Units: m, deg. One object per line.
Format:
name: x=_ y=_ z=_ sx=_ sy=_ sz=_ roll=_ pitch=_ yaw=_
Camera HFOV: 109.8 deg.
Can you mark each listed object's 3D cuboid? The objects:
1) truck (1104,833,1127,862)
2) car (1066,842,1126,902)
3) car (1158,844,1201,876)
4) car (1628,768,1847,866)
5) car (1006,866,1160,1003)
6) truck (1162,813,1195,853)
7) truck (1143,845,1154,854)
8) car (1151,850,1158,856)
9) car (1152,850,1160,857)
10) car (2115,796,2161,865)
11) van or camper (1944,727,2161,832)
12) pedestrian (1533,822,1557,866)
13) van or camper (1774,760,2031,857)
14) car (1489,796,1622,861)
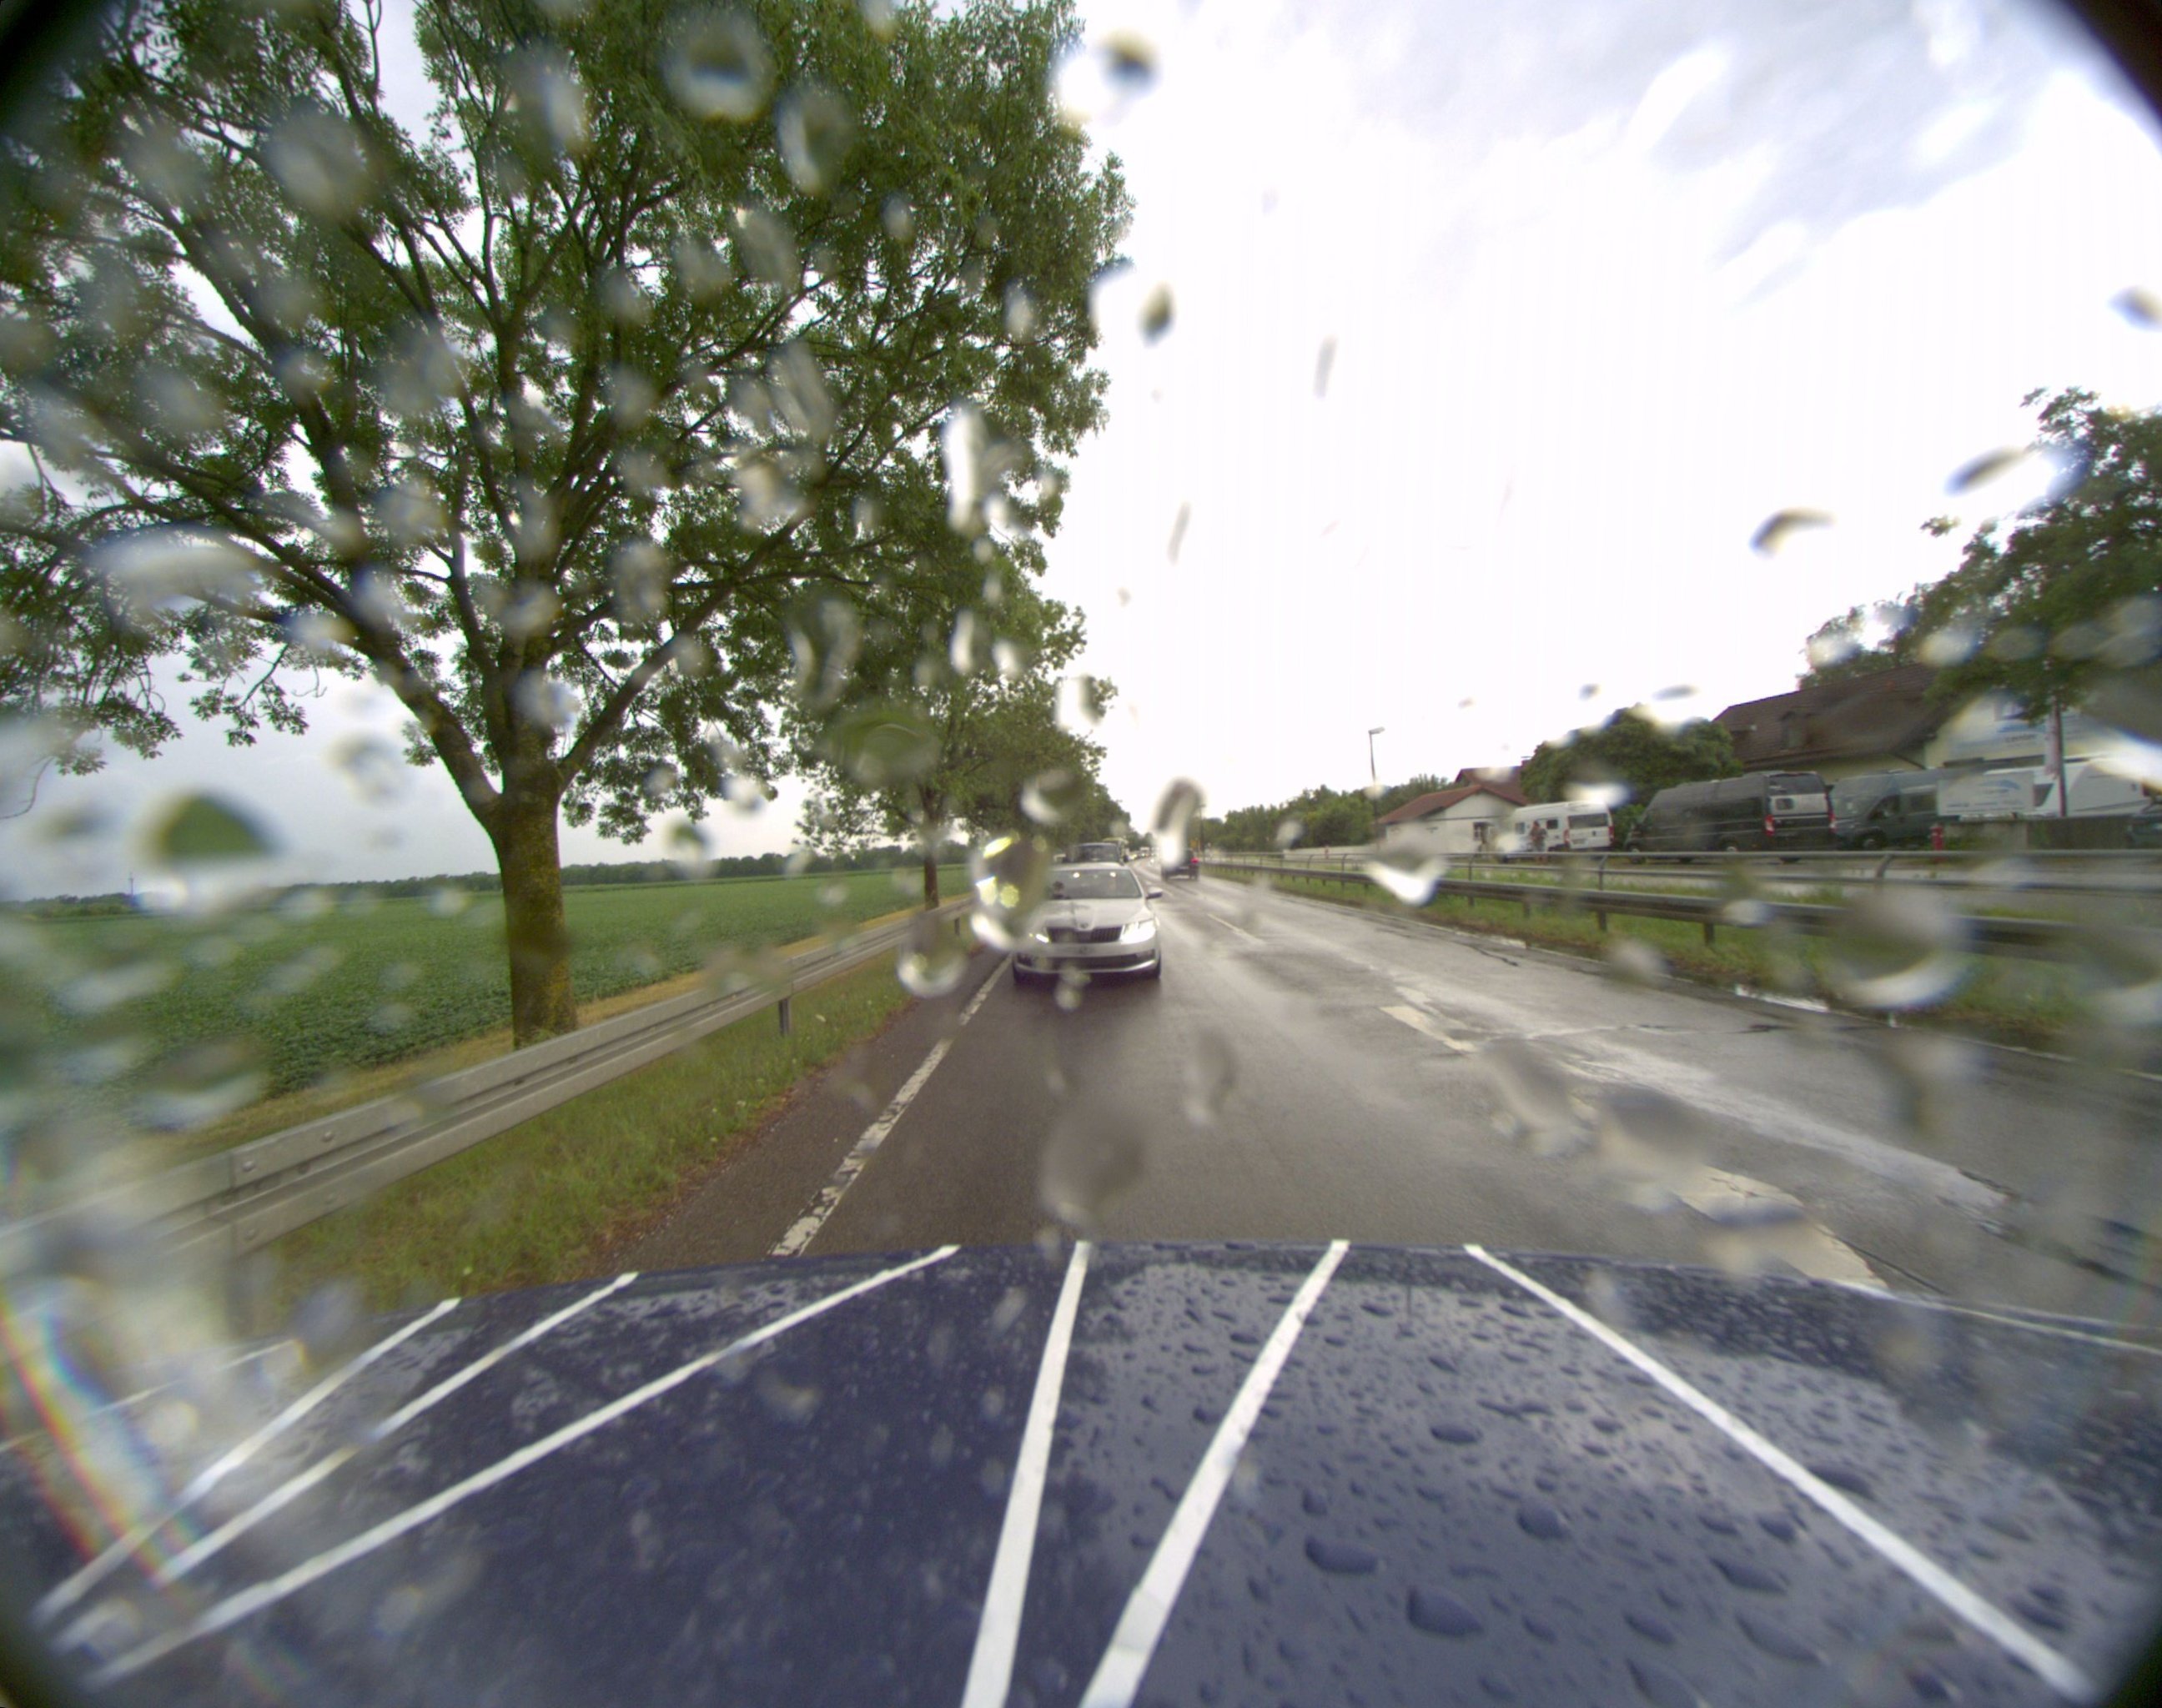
truck: x=4.547 y=-0.863 z=100.604 sx=2.751 sy=3.547 sz=8.387 roll=-3 pitch=0 yaw=2
car: x=0.492 y=0.574 z=26.531 sx=1.903 sy=1.884 sz=4.000 roll=-1 pitch=0 yaw=0
car: x=5.341 y=0.302 z=41.653 sx=1.768 sy=1.610 sz=4.000 roll=-2 pitch=0 yaw=0
car: x=21.398 y=-1.089 z=25.213 sx=2.389 sy=2.747 sz=5.573 roll=-4 pitch=0 yaw=1
car: x=0.038 y=0.939 z=10.574 sx=1.705 sy=1.438 sz=4.000 roll=-1 pitch=0 yaw=0
truck: x=13.316 y=-2.799 z=104.427 sx=3.256 sy=5.004 sz=7.783 roll=-4 pitch=0 yaw=0
truck: x=19.050 y=-1.215 z=213.200 sx=2.800 sy=2.461 sz=7.169 roll=-3 pitch=0 yaw=4
car: x=23.083 y=-0.454 z=238.464 sx=1.811 sy=1.723 sz=4.027 roll=-3 pitch=0 yaw=2
car: x=22.427 y=-0.226 z=228.124 sx=1.998 sy=2.002 sz=4.100 roll=-3 pitch=0 yaw=1
car: x=25.289 y=-0.620 z=16.343 sx=3.894 sy=1.487 sz=1.540 roll=-4 pitch=0 yaw=1
van or camper: x=29.348 y=-2.143 z=21.784 sx=6.239 sy=2.576 sz=2.562 roll=-4 pitch=0 yaw=-1
pedestrian: x=18.608 y=-0.389 z=30.476 sx=0.516 sy=1.701 sz=0.650 roll=-3 pitch=1 yaw=9
van or camper: x=27.861 y=-1.492 z=25.946 sx=6.068 sy=2.785 sz=2.434 roll=-4 pitch=0 yaw=-1
car: x=21.192 y=-1.064 z=34.356 sx=2.243 sy=2.565 sz=6.019 roll=-4 pitch=0 yaw=1
